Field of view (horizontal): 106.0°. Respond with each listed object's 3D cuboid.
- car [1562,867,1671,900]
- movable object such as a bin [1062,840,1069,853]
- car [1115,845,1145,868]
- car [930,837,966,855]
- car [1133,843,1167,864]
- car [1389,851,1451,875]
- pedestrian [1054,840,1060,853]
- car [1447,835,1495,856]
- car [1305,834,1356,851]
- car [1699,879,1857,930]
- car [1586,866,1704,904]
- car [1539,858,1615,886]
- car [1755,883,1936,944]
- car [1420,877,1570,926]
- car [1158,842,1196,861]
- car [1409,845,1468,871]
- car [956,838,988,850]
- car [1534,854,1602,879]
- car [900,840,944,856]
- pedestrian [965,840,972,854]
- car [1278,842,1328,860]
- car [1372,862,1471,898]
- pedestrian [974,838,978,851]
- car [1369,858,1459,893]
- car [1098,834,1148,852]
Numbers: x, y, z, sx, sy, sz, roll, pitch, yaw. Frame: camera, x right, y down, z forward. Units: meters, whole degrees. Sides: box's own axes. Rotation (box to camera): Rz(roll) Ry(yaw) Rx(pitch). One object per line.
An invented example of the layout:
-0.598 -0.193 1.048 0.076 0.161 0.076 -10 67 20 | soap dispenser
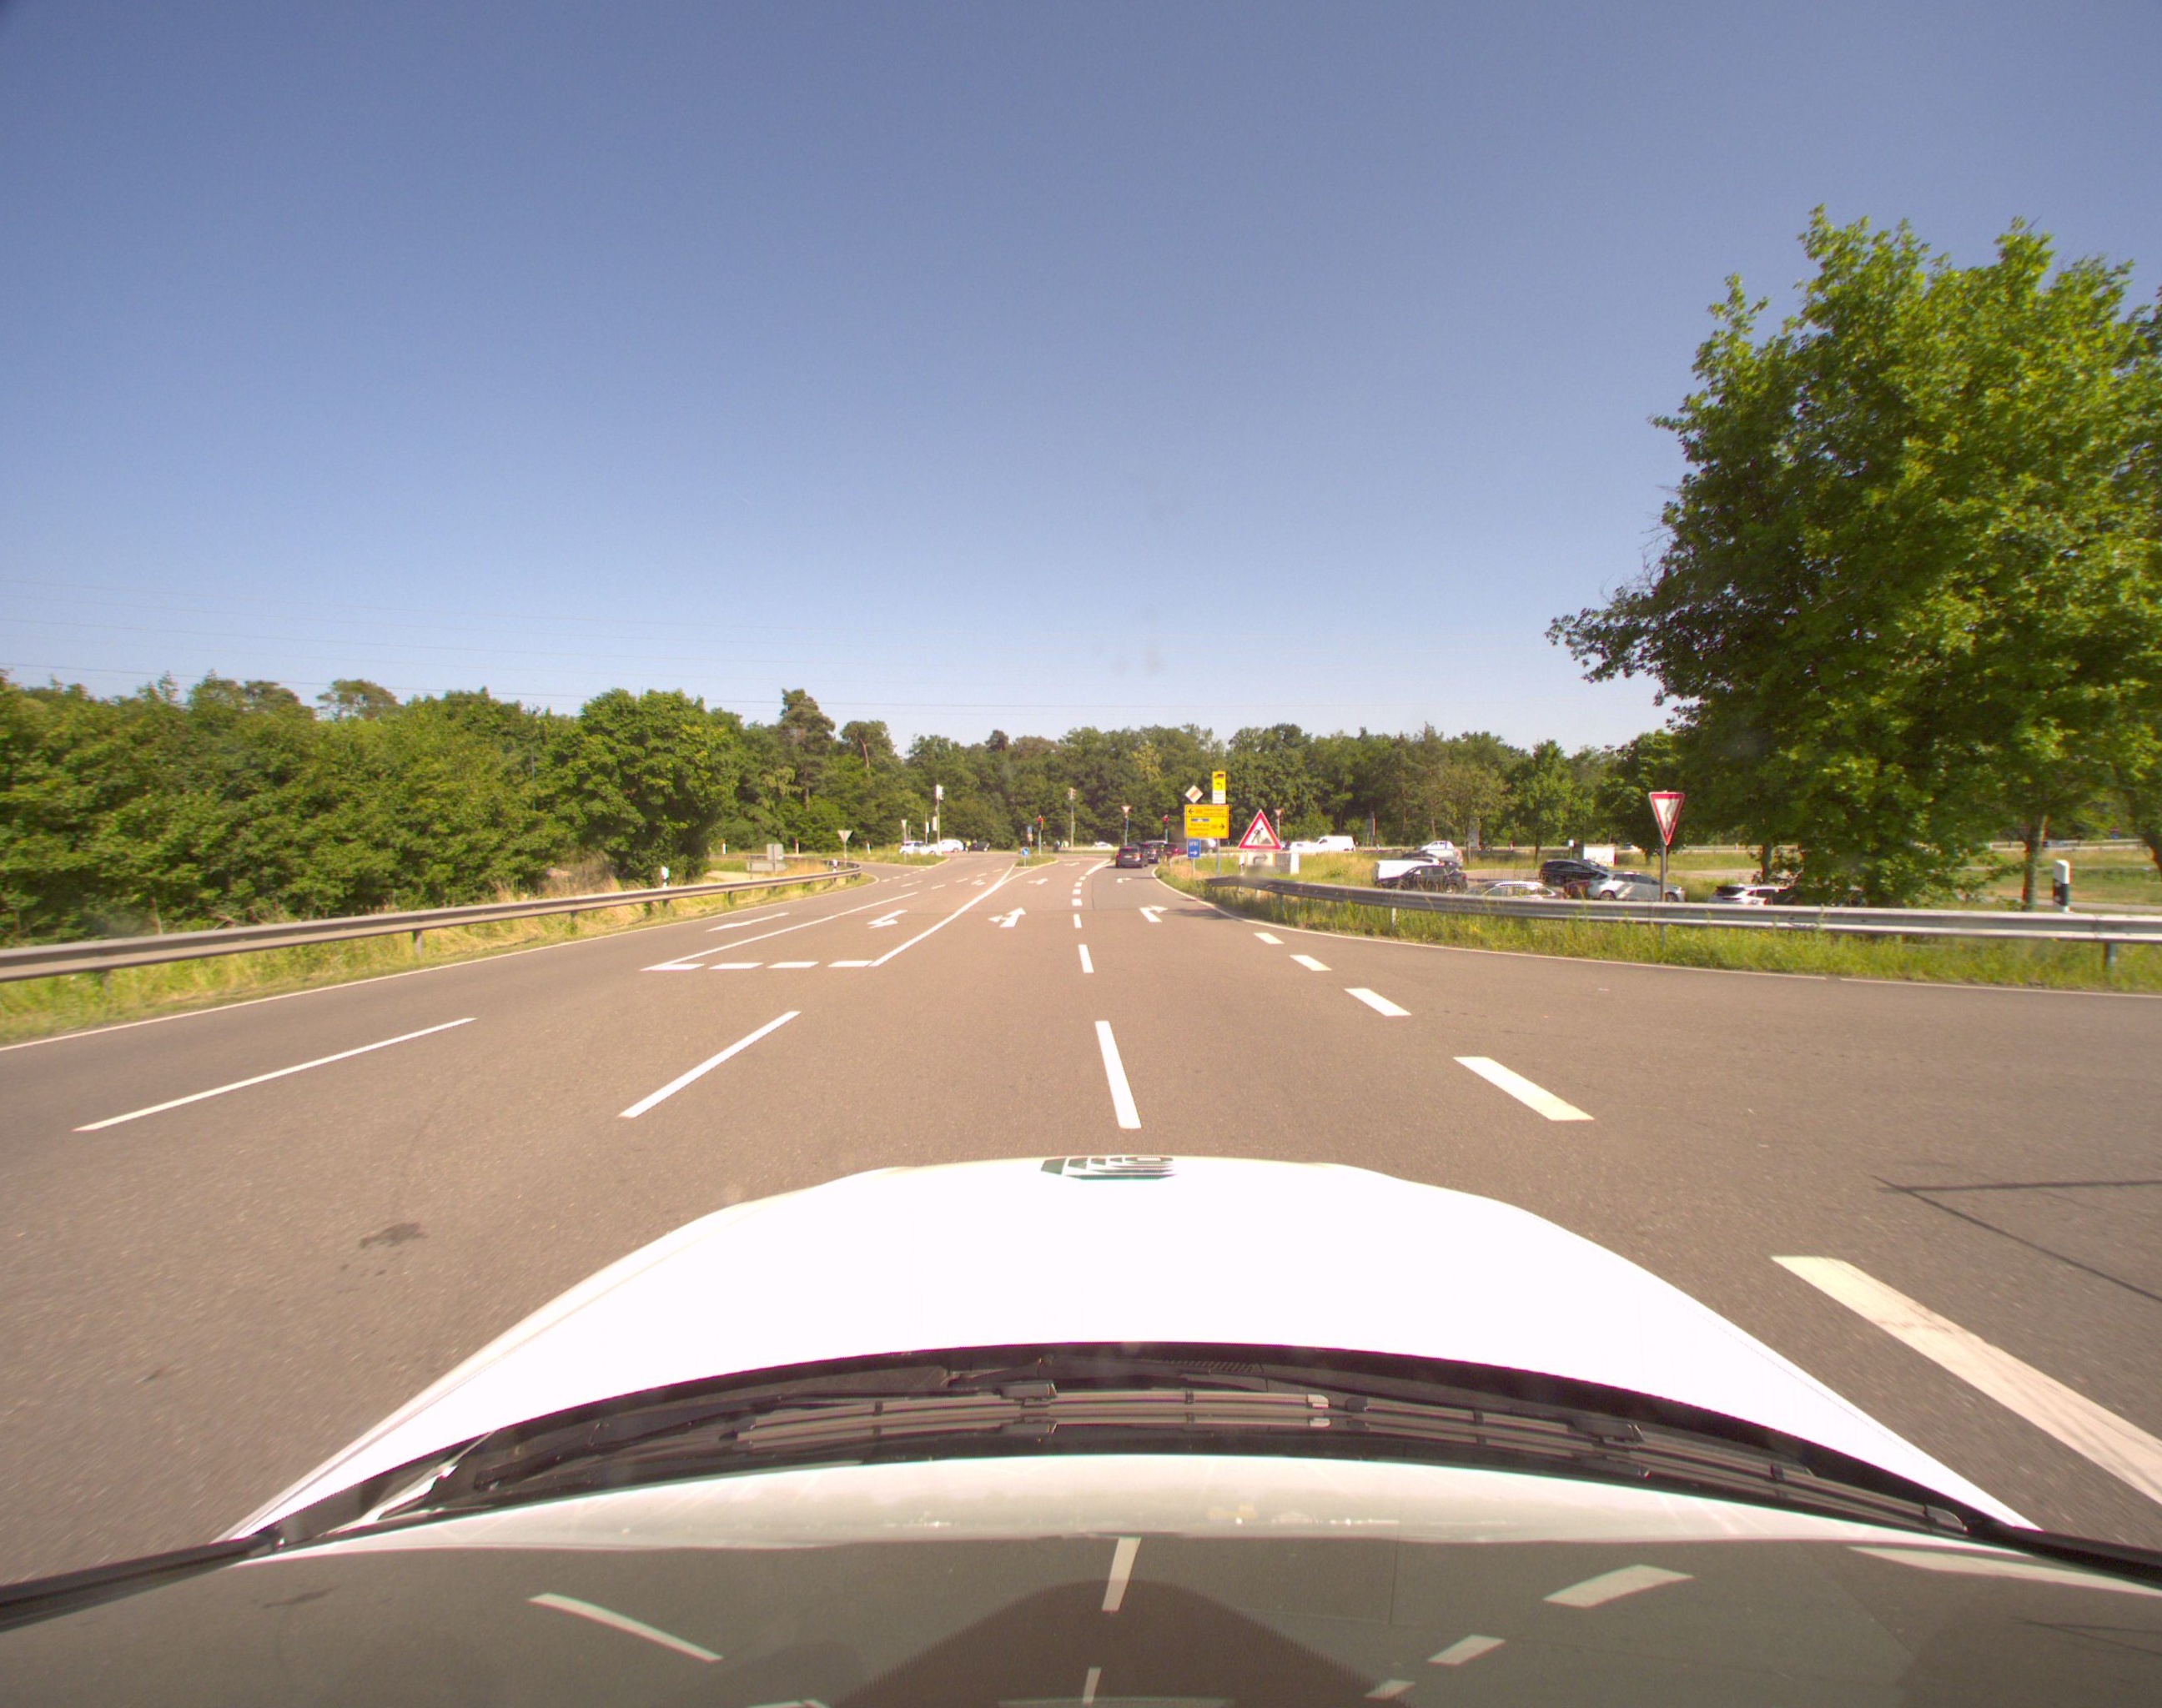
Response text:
27.570 1.477 42.088 4.319 1.447 2.010 2 1 19 | car
-1.777 -0.879 92.896 0.599 1.488 0.733 -2 0 6 | movable object such as a bin
3.318 0.136 54.652 1.790 1.398 4.007 -2 0 6 | car
-16.257 -1.014 99.821 4.004 2.013 1.782 -3 0 -23 | car
5.268 -0.068 61.844 1.785 1.501 4.017 0 1 16 | car
25.362 0.628 60.918 3.949 1.619 1.903 2 1 33 | car
-2.731 -0.854 92.321 0.520 1.390 0.515 -2 0 10 | pedestrian
39.024 -0.900 81.474 3.982 2.013 1.797 -1 1 -7 | car
26.700 -1.244 87.259 4.878 1.552 1.995 -2 0 -8 | car
25.265 1.799 29.660 3.965 1.580 1.895 2 1 7 | car
27.373 1.482 39.681 4.319 1.589 2.010 2 1 19 | car
31.808 1.126 52.350 3.950 1.580 1.902 2 1 26 | car
24.945 1.914 26.718 3.966 1.665 1.895 2 1 7 | car
15.458 1.754 30.615 4.635 1.626 2.001 -1 0 1 | car
7.958 -0.228 67.275 1.782 1.501 4.024 0 1 28 | car
28.967 0.303 66.056 3.949 1.876 1.903 2 1 38 | car
-14.246 -1.327 106.576 3.984 1.422 1.791 -2 0 -8 | car
34.376 0.836 57.556 3.950 1.580 1.799 2 1 26 | car
-14.491 -0.532 74.341 3.830 1.486 1.886 0 0 -8 | car
-13.417 -0.826 97.194 0.757 1.721 0.676 -1 1 -12 | pedestrian
21.427 -0.290 78.681 4.225 1.459 1.995 -2 0 -8 | car
17.395 1.341 41.756 4.384 1.667 1.908 -1 1 11 | car
-13.641 -1.194 105.700 0.407 1.714 0.452 -2 0 -5 | pedestrian
18.195 1.135 44.676 4.326 1.783 1.908 1 1 11 | car
3.902 -1.021 76.558 4.362 1.459 1.995 -2 0 -8 | car
